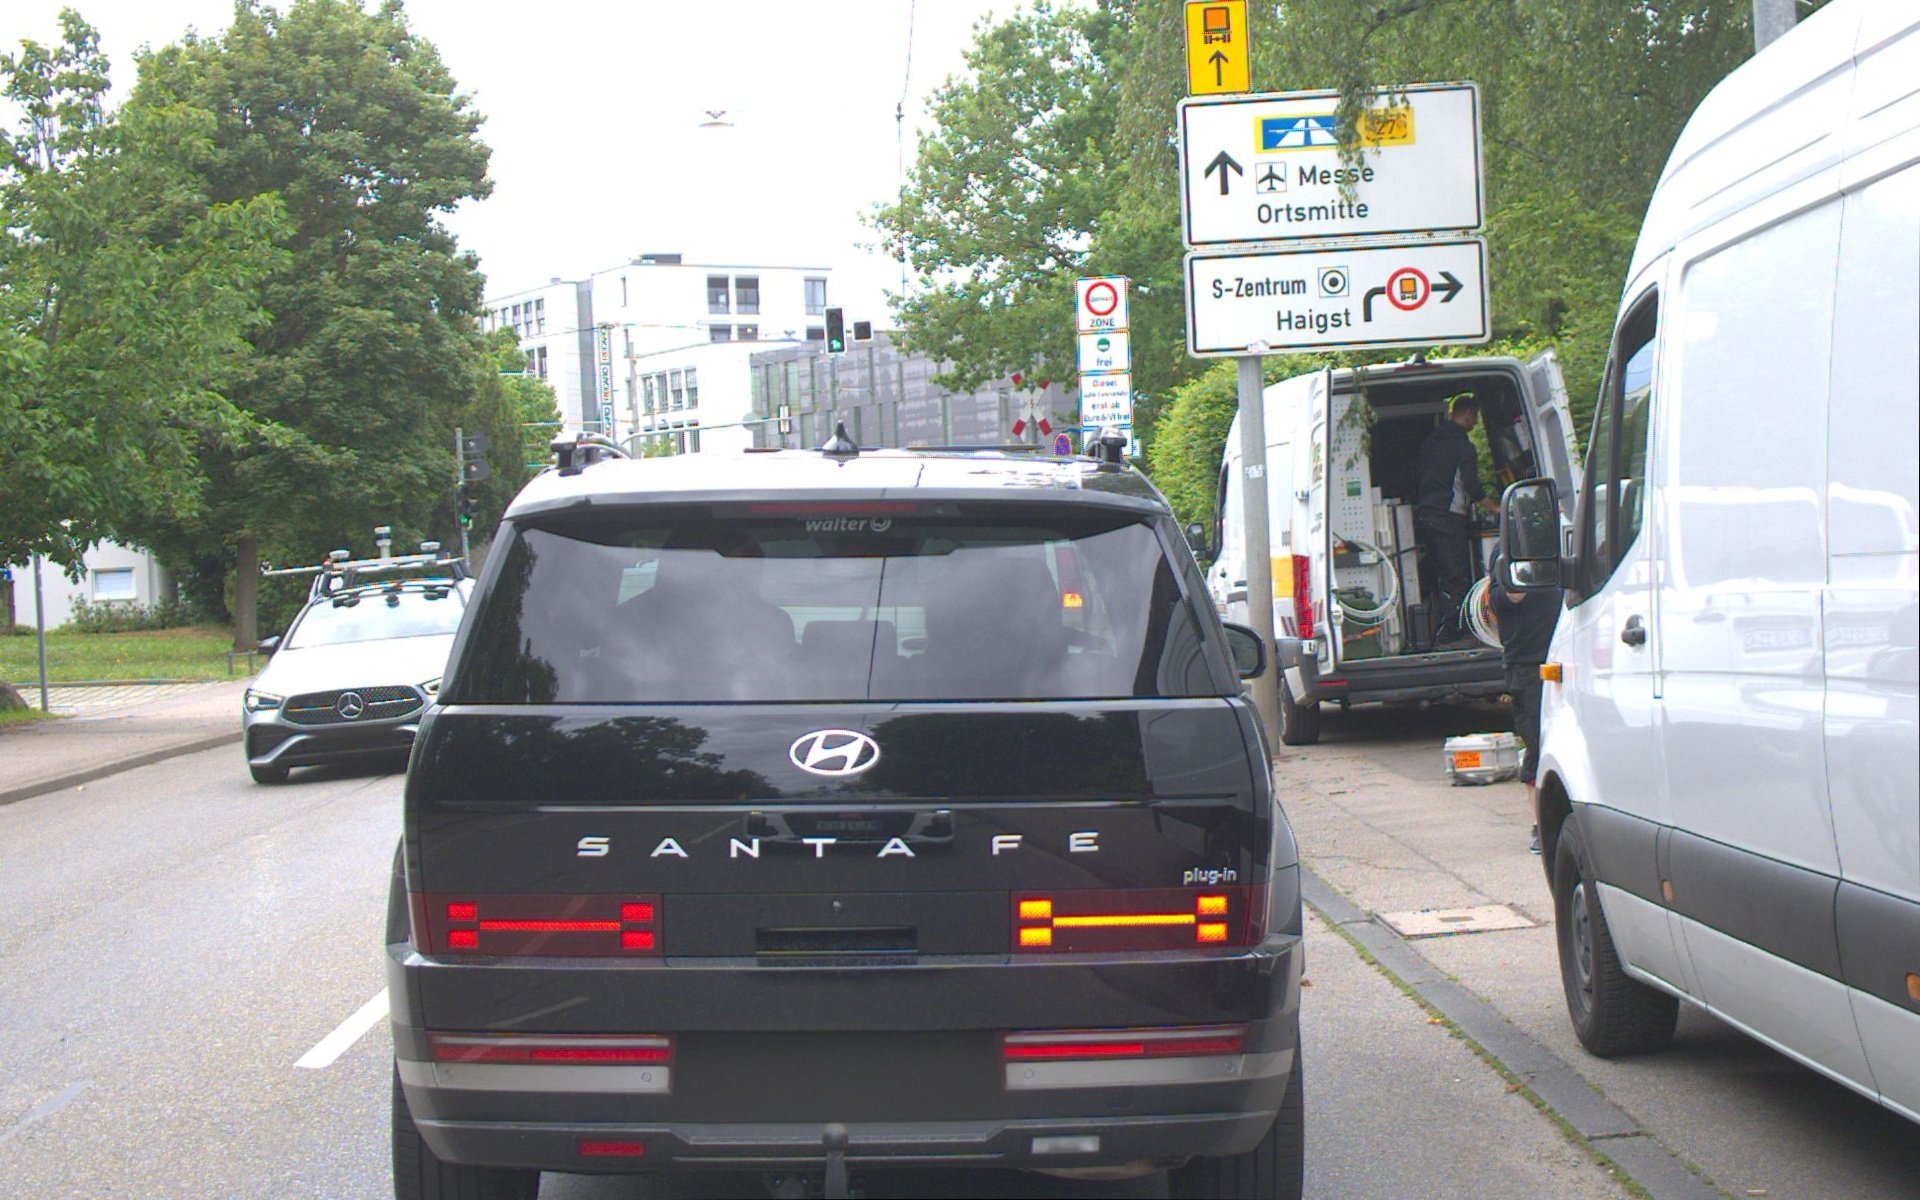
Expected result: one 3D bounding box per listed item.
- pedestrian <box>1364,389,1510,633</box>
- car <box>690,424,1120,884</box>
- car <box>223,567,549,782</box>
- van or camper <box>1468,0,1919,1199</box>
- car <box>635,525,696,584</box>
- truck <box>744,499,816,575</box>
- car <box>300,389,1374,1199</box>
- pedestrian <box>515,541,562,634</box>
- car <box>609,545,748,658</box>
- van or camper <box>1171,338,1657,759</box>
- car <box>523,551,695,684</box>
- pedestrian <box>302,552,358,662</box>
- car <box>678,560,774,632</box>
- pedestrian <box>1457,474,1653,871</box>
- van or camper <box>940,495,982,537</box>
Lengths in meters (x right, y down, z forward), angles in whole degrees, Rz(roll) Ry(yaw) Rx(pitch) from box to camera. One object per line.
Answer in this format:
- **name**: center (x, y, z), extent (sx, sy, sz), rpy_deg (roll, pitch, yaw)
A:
- **pedestrian**: center (3.342, -0.617, 24.052), extent (0.799, 1.638, 0.738), rpy_deg (-3, 0, 19)
- **car**: center (-0.269, 0.223, 17.415), extent (1.897, 2.035, 3.994), rpy_deg (1, 1, -1)
- **car**: center (-4.360, 0.511, 26.730), extent (1.756, 1.398, 4.414), rpy_deg (-4, 1, -1)
- **van or camper**: center (2.626, -0.043, 6.827), extent (1.991, 2.616, 6.544), rpy_deg (-5, 1, -1)
- **car**: center (-12.353, -1.903, 144.046), extent (2.332, 2.307, 4.959), rpy_deg (-2, 1, -6)
- **truck**: center (-9.629, -3.316, 183.109), extent (3.107, 3.846, 9.623), rpy_deg (-2, 1, -6)
- **car**: center (-0.244, 0.503, 8.139), extent (1.897, 1.770, 3.994), rpy_deg (1, 1, -1)
- **pedestrian**: center (-9.170, -0.270, 74.850), extent (0.830, 2.007, 1.047), rpy_deg (1, 0, 2)
- **car**: center (-4.557, -0.003, 56.134), extent (1.880, 1.639, 4.128), rpy_deg (-4, 1, -1)
- **van or camper**: center (3.101, -0.328, 25.228), extent (2.340, 2.486, 6.603), rpy_deg (-5, 0, -1)
- **car**: center (-4.352, 0.188, 43.108), extent (1.701, 1.478, 4.000), rpy_deg (-4, 1, -1)
- **pedestrian**: center (-10.077, 0.104, 55.038), extent (0.767, 1.742, 0.904), rpy_deg (-1, 0, -4)
- **car**: center (-5.275, -0.109, 78.030), extent (1.814, 1.414, 4.829), rpy_deg (-5, 1, -1)
- **pedestrian**: center (2.644, 0.311, 15.344), extent (0.789, 1.715, 0.752), rpy_deg (1, 0, 6)
- **van or camper**: center (0.030, -4.205, 172.438), extent (1.795, 1.992, 3.824), rpy_deg (1, 1, -4)
